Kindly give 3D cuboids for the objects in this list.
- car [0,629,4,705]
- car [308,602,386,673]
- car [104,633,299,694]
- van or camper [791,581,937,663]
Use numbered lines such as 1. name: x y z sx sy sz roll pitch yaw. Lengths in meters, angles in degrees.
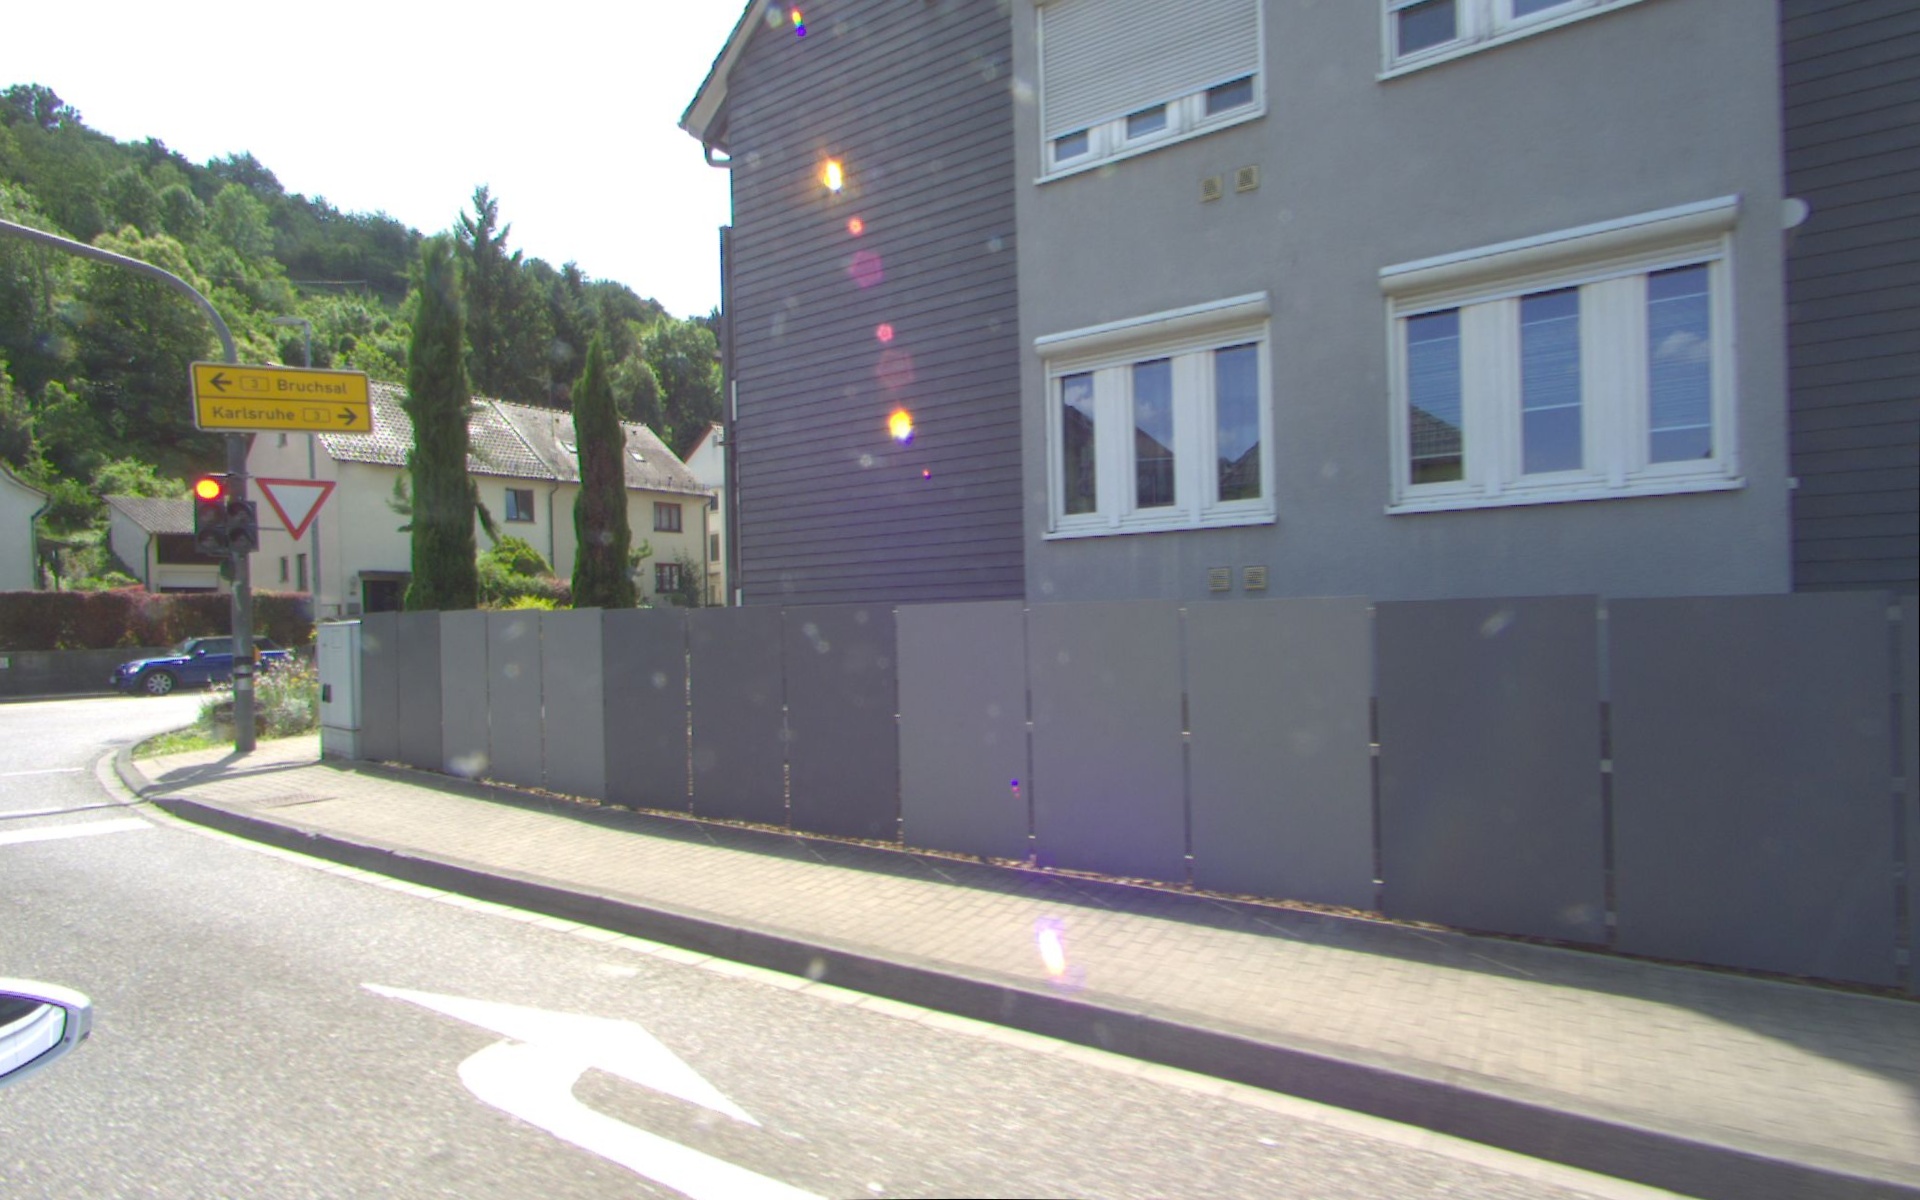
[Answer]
1. car: -20.329 1.303 17.779 1.905 1.445 4.645 -4 -3 38
2. car: -20.080 1.169 32.733 1.780 1.410 3.650 0 13 -38
3. car: -18.933 1.570 25.111 1.624 1.379 3.598 -4 -4 36
4. van or camper: -3.712 0.858 39.904 2.192 3.043 5.966 -1 -1 40
